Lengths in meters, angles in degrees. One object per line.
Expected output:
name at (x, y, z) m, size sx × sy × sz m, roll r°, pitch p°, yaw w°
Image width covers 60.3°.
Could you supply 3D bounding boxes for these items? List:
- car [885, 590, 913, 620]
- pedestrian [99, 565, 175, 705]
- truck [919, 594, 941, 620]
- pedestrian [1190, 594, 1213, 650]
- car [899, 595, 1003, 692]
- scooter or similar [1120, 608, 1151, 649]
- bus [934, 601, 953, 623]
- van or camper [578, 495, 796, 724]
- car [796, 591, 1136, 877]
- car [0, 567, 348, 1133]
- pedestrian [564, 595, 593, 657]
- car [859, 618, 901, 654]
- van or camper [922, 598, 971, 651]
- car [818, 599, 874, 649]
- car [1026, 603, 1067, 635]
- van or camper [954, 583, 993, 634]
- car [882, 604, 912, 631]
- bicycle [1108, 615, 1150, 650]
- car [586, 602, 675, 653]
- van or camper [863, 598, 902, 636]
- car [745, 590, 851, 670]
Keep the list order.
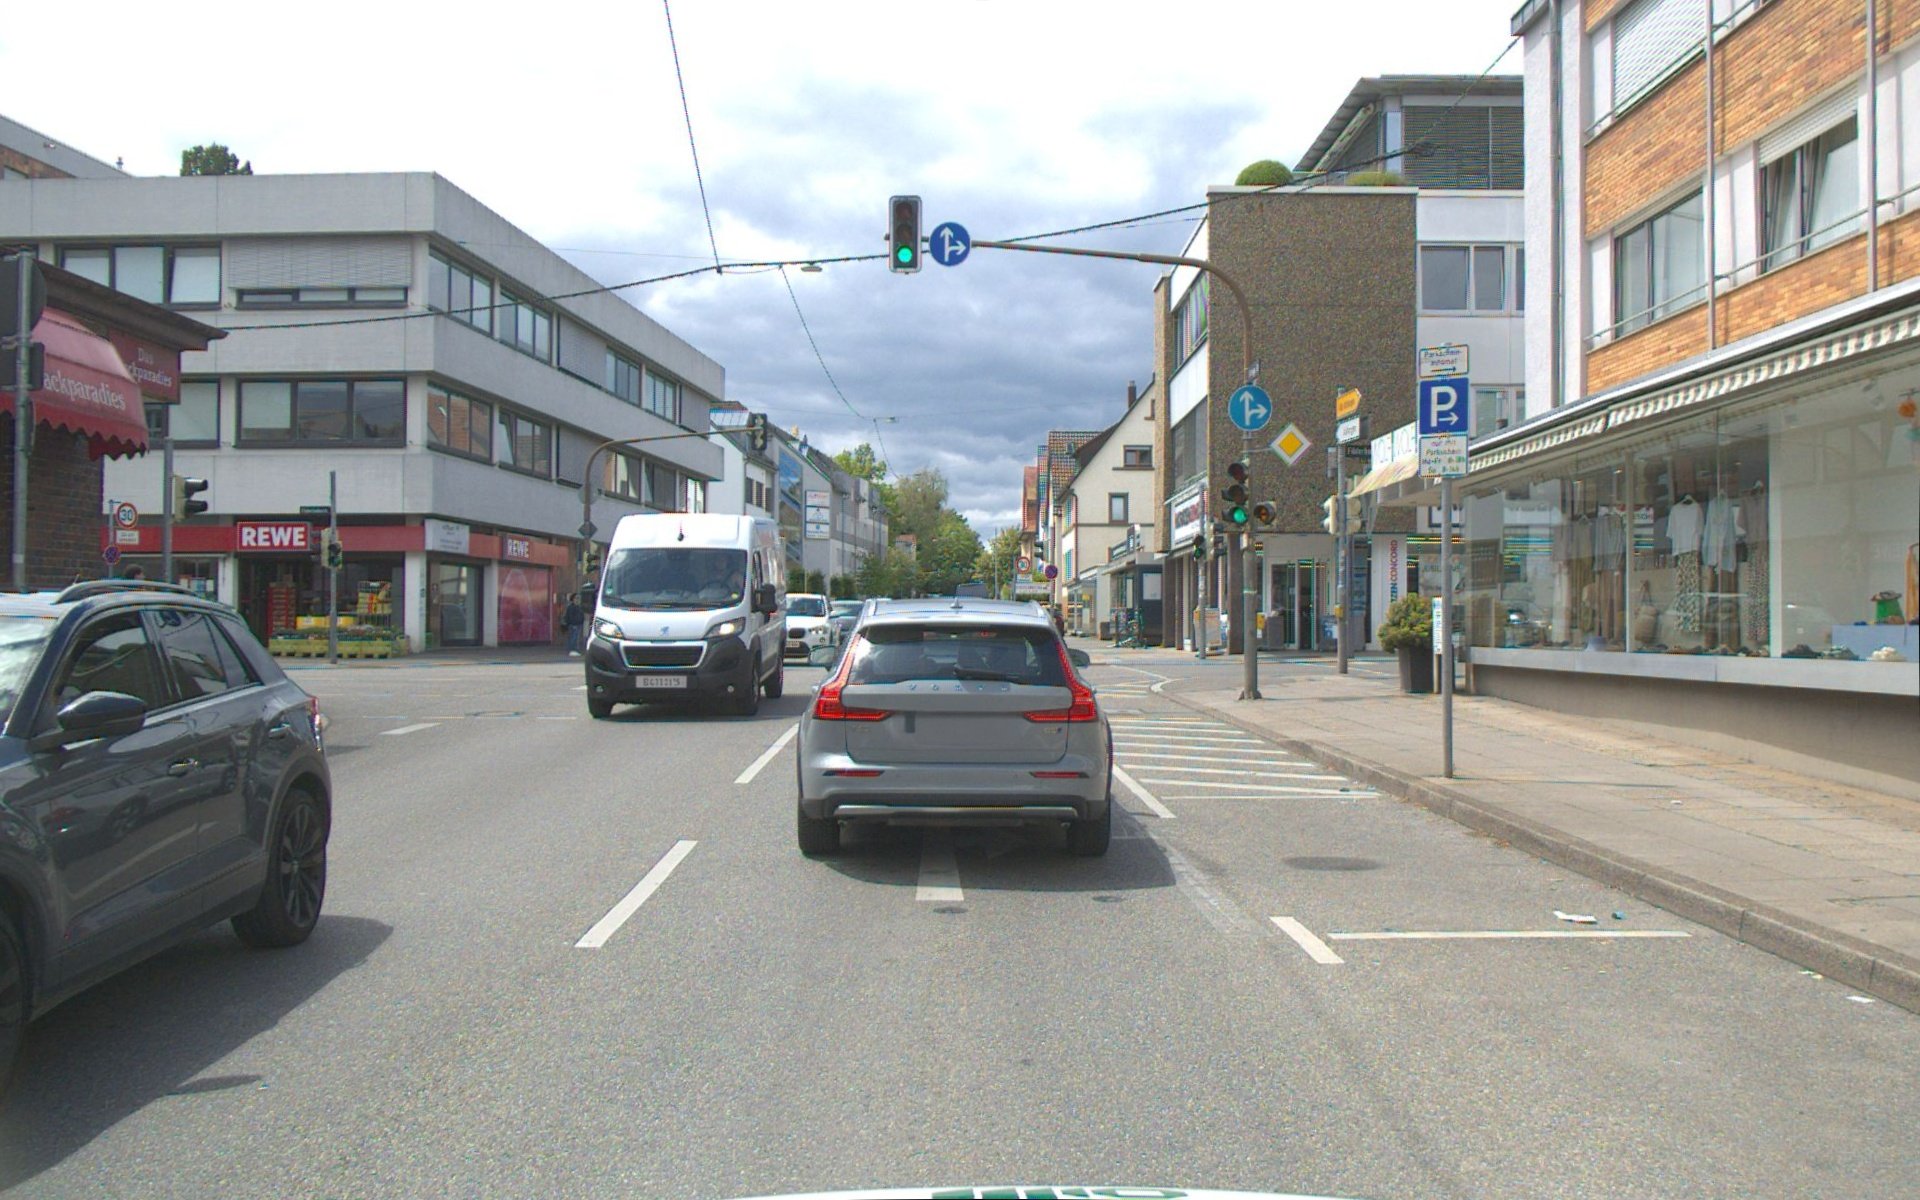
car at (-4.099, 0.384, 111.662) m, size 1.800 × 1.951 × 4.155 m, roll 1°, pitch -1°, yaw -1°
pedestrian at (-10.932, 0.466, 21.981) m, size 0.613 × 1.828 × 0.720 m, roll 1°, pitch -2°, yaw -3°
truck at (-3.422, 0.854, 190.656) m, size 2.229 × 2.937 × 7.079 m, roll -1°, pitch 0°, yaw 1°
pedestrian at (6.454, 0.590, 44.235) m, size 0.493 × 1.485 × 0.500 m, roll -3°, pitch -1°, yaw 13°
car at (-0.155, 0.708, 27.675) m, size 1.617 × 1.508 × 3.606 m, roll 1°, pitch -1°, yaw -1°
scooter or similar at (5.655, 0.921, 53.409) m, size 0.336 × 1.275 × 1.235 m, roll -2°, pitch -1°, yaw -26°
bus at (-2.020, 1.479, 206.490) m, size 2.229 × 2.715 × 7.429 m, roll 0°, pitch -1°, yaw 1°
van or camper at (-3.410, 0.090, 21.757) m, size 2.105 × 2.601 × 5.436 m, roll -1°, pitch 0°, yaw -2°
car at (0.013, 0.701, 10.754) m, size 1.798 × 1.512 × 3.999 m, roll 0°, pitch 0°, yaw -1°
car at (-3.564, 0.696, 5.627) m, size 1.755 × 1.537 × 3.841 m, roll 0°, pitch -1°, yaw -4°
pedestrian at (-10.373, 0.694, 44.975) m, size 0.606 × 1.670 × 0.660 m, roll -1°, pitch -1°, yaw 1°
car at (-3.521, 1.570, 73.221) m, size 1.648 × 1.523 × 3.967 m, roll -1°, pitch -1°, yaw 0°
van or camper at (-0.511, 0.961, 62.877) m, size 1.782 × 1.867 × 3.999 m, roll 0°, pitch -3°, yaw -1°
car at (-3.827, 0.814, 56.043) m, size 1.753 × 1.617 × 4.099 m, roll 0°, pitch -1°, yaw -2°
car at (4.226, 0.957, 81.340) m, size 1.676 × 1.490 × 3.998 m, roll 1°, pitch -2°, yaw -2°
van or camper at (0.764, 0.476, 93.194) m, size 2.079 × 2.733 × 4.781 m, roll -1°, pitch 0°, yaw 1°
car at (-3.769, 1.042, 99.418) m, size 1.634 × 1.581 × 4.215 m, roll 0°, pitch 0°, yaw 1°
bicycle at (5.745, 1.094, 56.369) m, size 0.546 × 1.164 × 2.288 m, roll -1°, pitch 0°, yaw -18°
car at (-10.361, 0.856, 52.265) m, size 1.747 × 1.490 × 4.088 m, roll 1°, pitch -1°, yaw 4°
van or camper at (-4.005, 0.858, 86.204) m, size 1.826 × 1.931 × 4.692 m, roll 0°, pitch 0°, yaw 0°
car at (-3.632, 0.643, 37.663) m, size 1.743 × 1.668 × 4.222 m, roll -2°, pitch 0°, yaw 3°
